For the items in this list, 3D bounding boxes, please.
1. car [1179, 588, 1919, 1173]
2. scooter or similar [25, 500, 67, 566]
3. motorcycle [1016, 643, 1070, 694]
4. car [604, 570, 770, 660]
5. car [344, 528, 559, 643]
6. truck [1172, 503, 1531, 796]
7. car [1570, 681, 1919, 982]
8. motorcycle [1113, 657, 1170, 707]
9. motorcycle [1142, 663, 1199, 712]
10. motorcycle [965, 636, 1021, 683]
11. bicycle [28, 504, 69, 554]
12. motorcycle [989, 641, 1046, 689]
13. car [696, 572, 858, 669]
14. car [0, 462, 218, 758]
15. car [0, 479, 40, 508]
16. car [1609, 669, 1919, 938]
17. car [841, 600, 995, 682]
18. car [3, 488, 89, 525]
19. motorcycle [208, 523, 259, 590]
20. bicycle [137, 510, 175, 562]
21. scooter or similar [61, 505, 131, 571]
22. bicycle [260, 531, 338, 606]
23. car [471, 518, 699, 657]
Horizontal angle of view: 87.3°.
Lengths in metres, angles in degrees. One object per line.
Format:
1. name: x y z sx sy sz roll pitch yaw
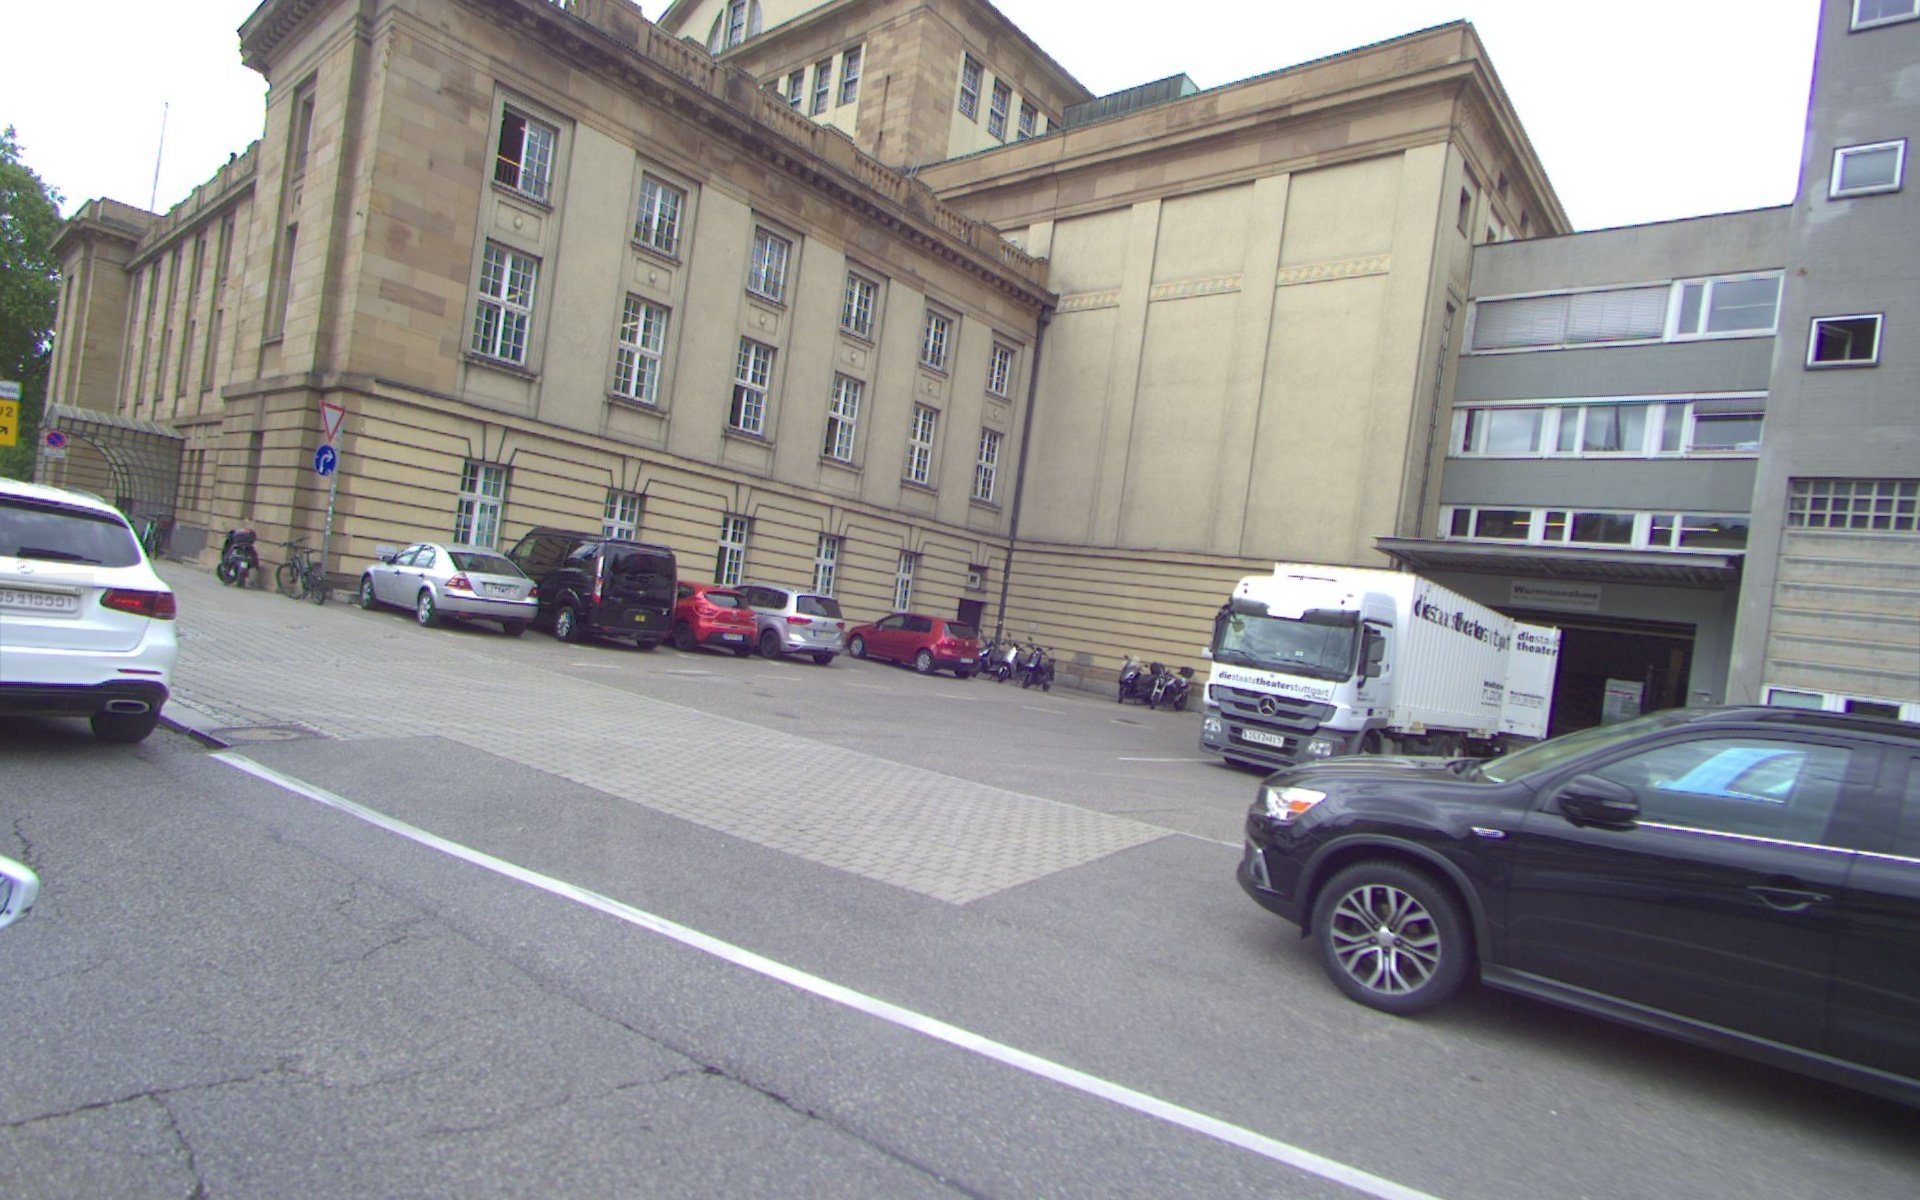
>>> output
1. car: 3.522 1.159 4.544 4.416 1.758 1.807 8 -2 36
2. scooter or similar: -19.260 -1.424 21.196 1.383 1.276 0.379 7 -1 41
3. motorcycle: 2.291 1.899 27.614 0.418 1.186 1.603 8 -3 42
4. car: -6.036 0.308 22.087 3.564 1.429 1.643 8 -2 40
5. car: -9.476 -0.312 18.583 4.508 1.486 1.778 8 -2 40
6. truck: 8.197 1.144 19.711 2.956 4.256 10.344 7 -1 40
7. car: 6.231 1.595 6.657 3.452 1.547 1.580 7 -2 39
8. motorcycle: 5.562 2.522 30.736 0.551 1.336 2.081 8 -1 42
9. motorcycle: 6.280 2.616 29.972 0.551 1.303 2.081 7 -1 42
10. motorcycle: 0.970 1.744 29.160 0.463 1.118 1.788 8 -3 42
11. bicycle: -23.584 -1.848 26.019 1.805 1.170 0.459 7 -1 40
12. motorcycle: 1.632 1.855 28.429 0.463 1.104 1.788 8 -3 42
13. car: -4.332 0.455 23.573 3.564 1.688 1.643 8 -2 40
14. car: -7.100 -0.139 6.902 4.367 1.643 1.791 7 -2 35
15. car: -67.895 -7.676 72.606 3.971 1.570 1.758 10 1 43
16. car: 8.210 1.857 8.252 4.553 1.802 1.807 7 -4 39
17. car: -1.171 1.066 26.829 3.862 1.551 1.643 8 -2 40
18. car: -58.598 -5.973 64.555 1.656 1.586 3.833 7 -2 41
19. motorcycle: -15.280 -0.926 21.140 1.897 1.257 0.454 7 0 45
20. bicycle: -22.410 -1.801 28.033 1.765 1.303 0.412 7 -1 41
21. scooter or similar: -18.643 -1.333 21.700 1.344 1.267 0.452 6 -1 21
22. bicycle: -12.596 -0.611 19.149 1.933 1.240 0.608 7 2 38
23. car: -7.634 -0.309 20.222 4.845 2.092 1.948 8 -2 40
